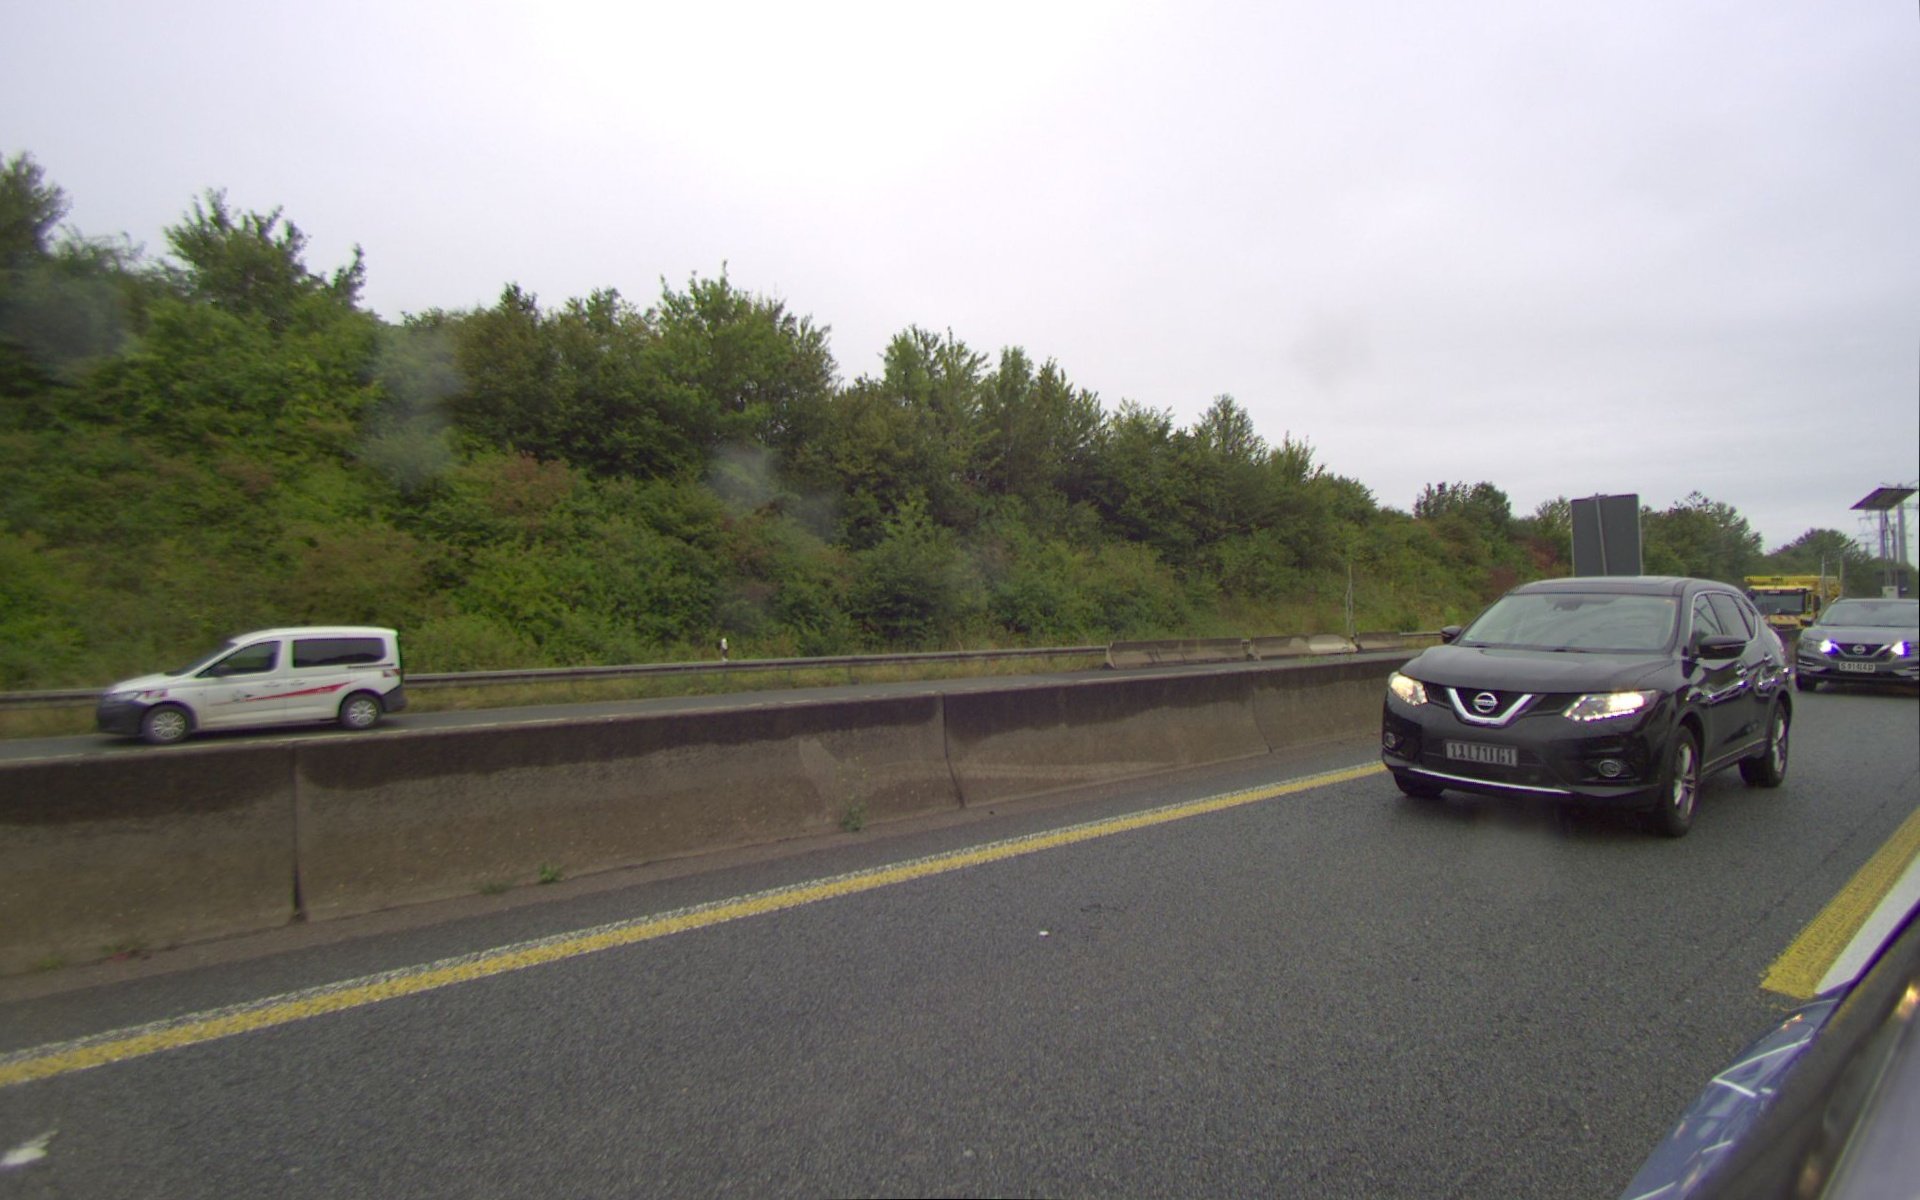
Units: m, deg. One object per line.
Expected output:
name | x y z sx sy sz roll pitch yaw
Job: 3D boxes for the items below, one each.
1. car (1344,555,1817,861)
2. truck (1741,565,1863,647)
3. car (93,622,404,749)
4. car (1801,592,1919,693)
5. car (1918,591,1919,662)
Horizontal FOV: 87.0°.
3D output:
car | 4.991 0.568 7.832 4.561 1.696 1.892 -1 1 -42
truck | 38.786 0.202 46.477 9.404 3.467 2.618 -1 1 -39
car | -12.218 1.358 17.544 4.255 1.792 1.731 -1 1 -42
car | 15.701 0.622 17.053 4.053 1.509 1.782 -1 1 -42
car | 23.776 0.585 23.581 4.053 1.618 1.782 -1 1 -42
